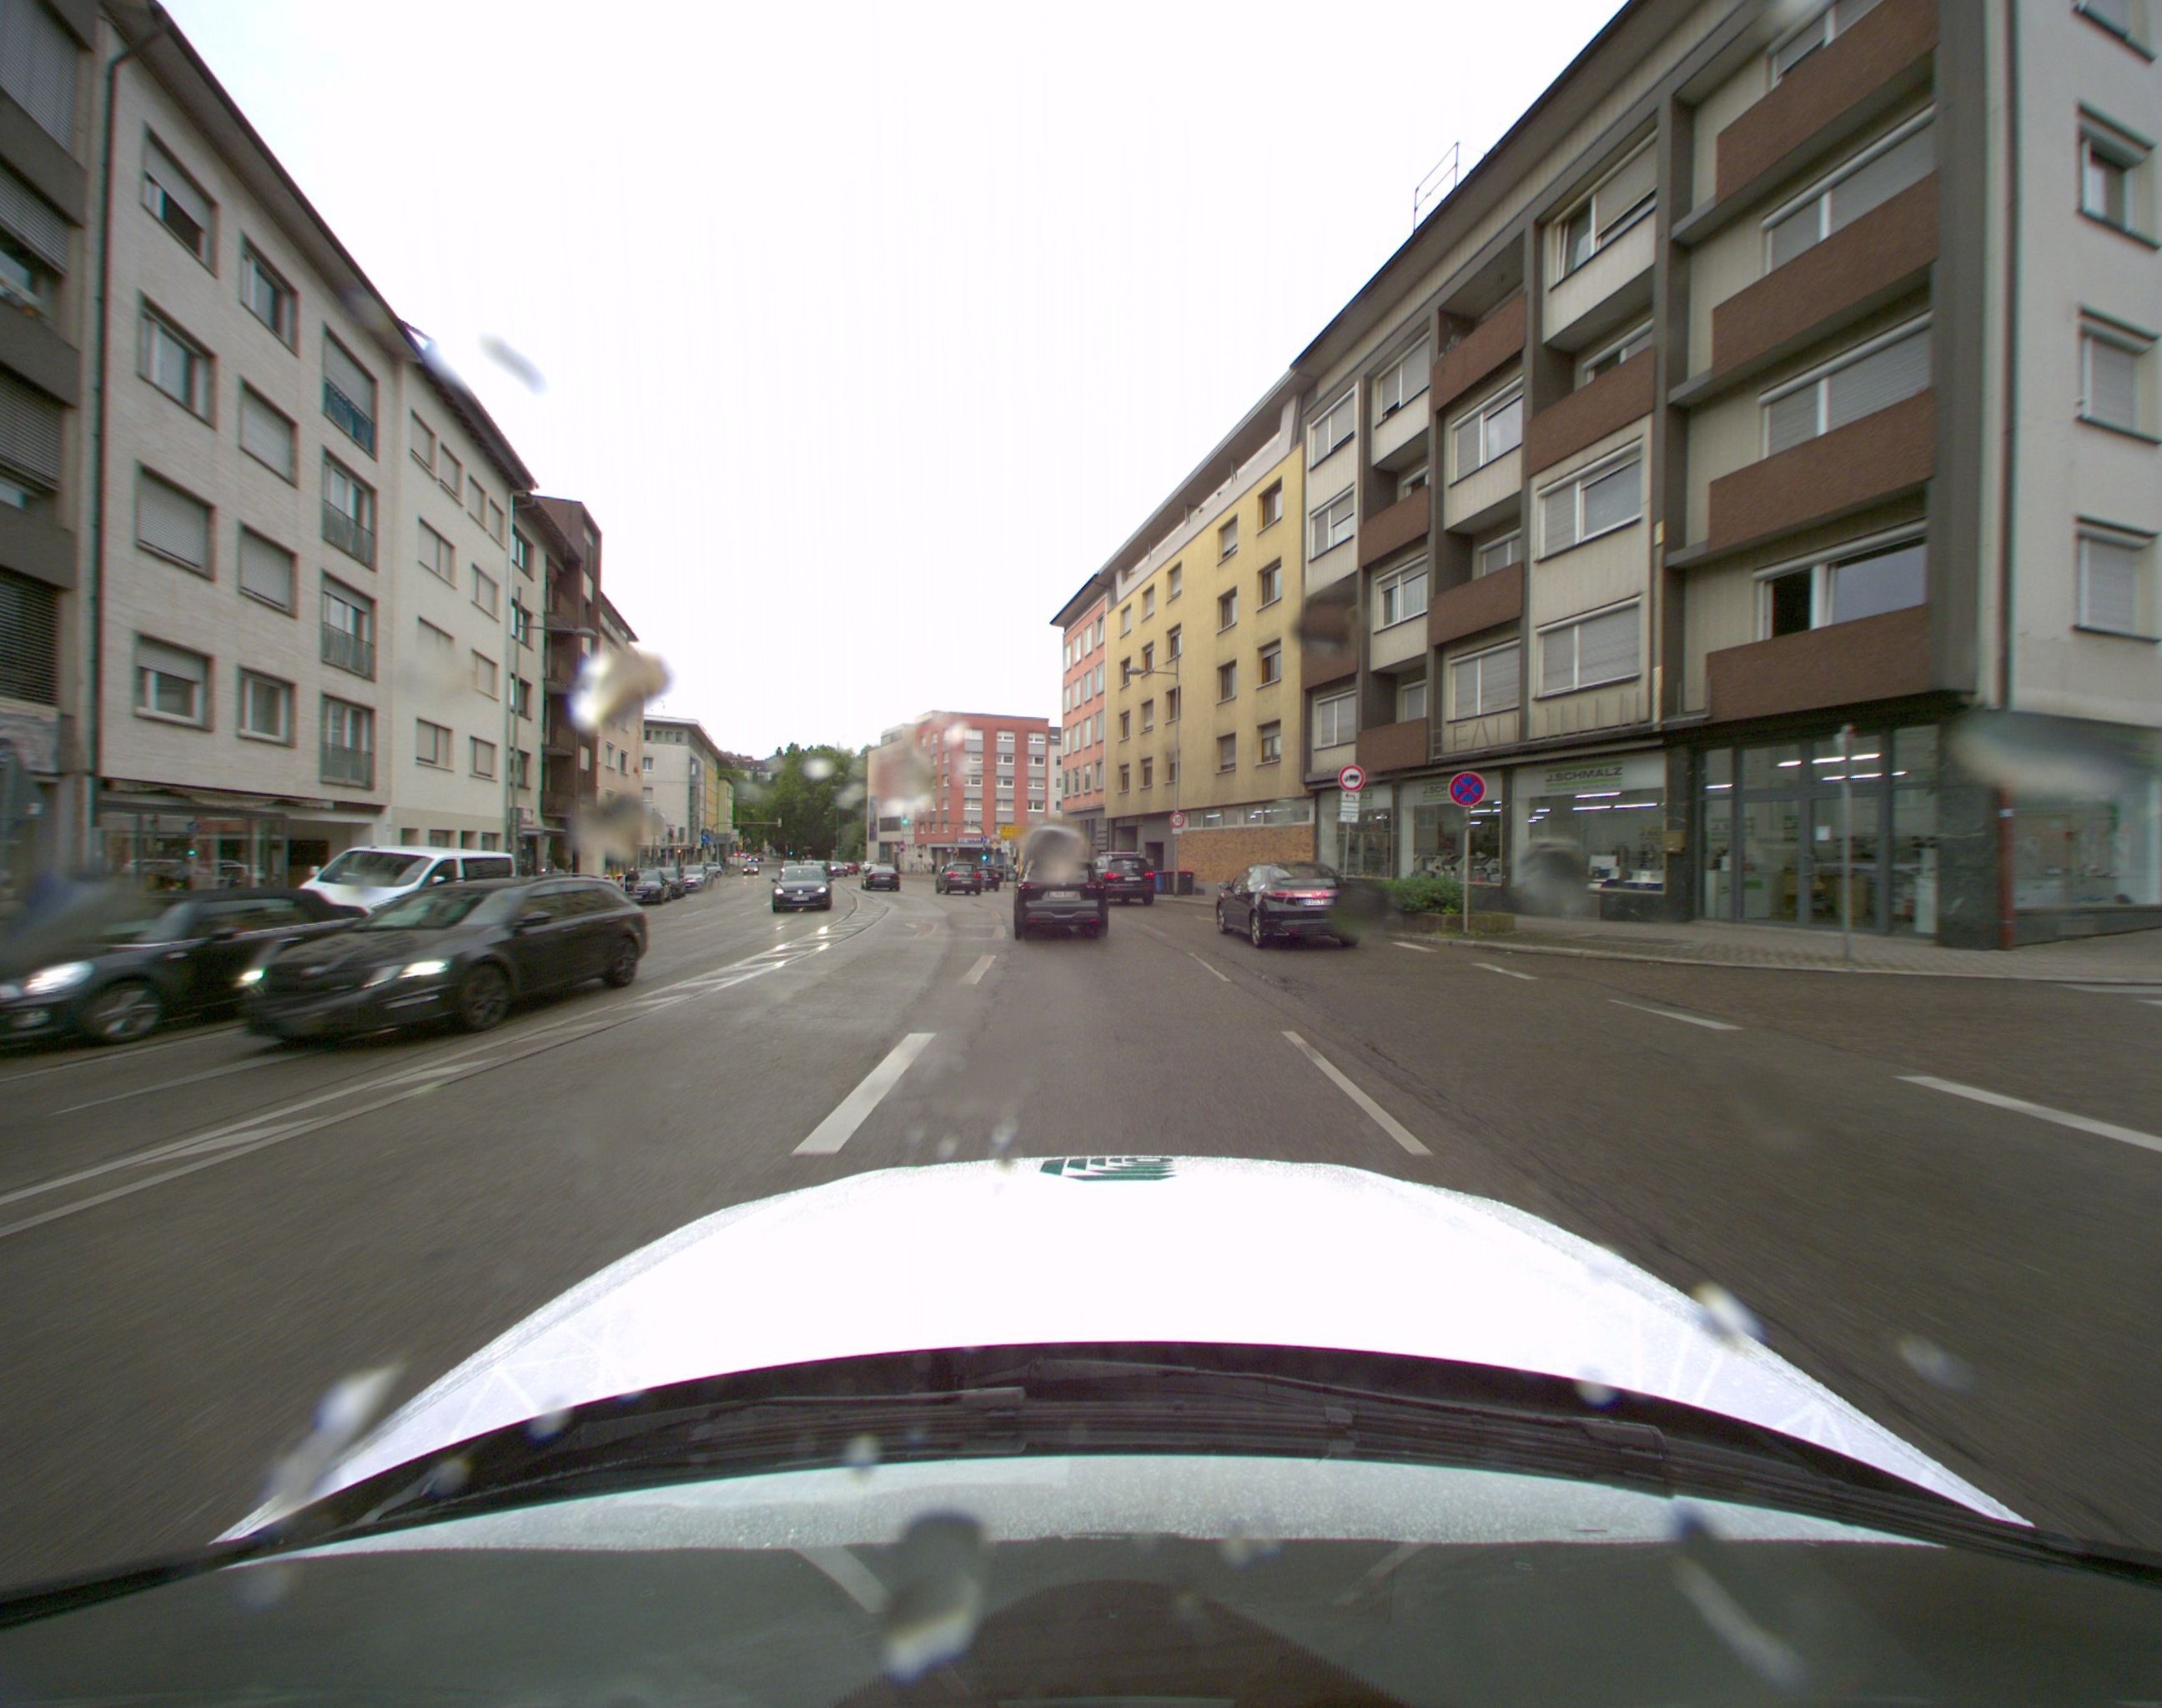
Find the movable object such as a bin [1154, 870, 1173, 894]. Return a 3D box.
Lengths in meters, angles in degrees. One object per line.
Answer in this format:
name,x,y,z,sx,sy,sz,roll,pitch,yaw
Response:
movable object such as a bin,3.774,1.275,37.372,0.683,1.077,0.664,1,-1,-19

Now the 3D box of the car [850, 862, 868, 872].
car,-31.946,1.845,117.160,1.723,1.442,4.047,-1,1,-26

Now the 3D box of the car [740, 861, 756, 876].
car,-38.304,1.686,93.729,1.699,1.627,3.970,0,-1,-22

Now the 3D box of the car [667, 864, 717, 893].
car,-22.211,1.373,46.651,1.913,1.554,4.603,-1,-1,-17

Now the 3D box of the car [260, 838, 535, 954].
car,-14.029,0.845,17.273,2.119,2.015,5.108,3,-2,-11

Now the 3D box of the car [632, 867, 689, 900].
car,-20.086,1.373,39.105,2.001,1.477,4.485,0,-1,-22

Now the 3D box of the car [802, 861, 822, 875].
car,-30.878,1.613,93.391,1.828,1.608,4.398,0,-1,-22

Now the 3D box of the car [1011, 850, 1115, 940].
car,-0.501,0.765,17.071,1.892,1.629,3.992,-1,0,-6

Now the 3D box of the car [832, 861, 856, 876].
car,-27.557,1.664,94.533,2.004,1.530,3.966,3,-1,-26

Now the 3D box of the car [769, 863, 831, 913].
car,-9.315,1.070,27.234,1.687,1.473,3.978,-2,0,-16

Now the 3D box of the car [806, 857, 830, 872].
car,-28.435,1.143,87.973,1.944,1.527,4.099,0,-1,-26

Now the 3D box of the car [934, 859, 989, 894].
car,-6.229,1.128,42.080,1.953,1.685,3.971,-1,0,-21

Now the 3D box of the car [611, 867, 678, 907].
car,-18.158,1.319,34.082,1.889,1.477,4.943,-1,0,-22

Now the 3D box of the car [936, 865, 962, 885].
car,-10.884,1.735,67.042,1.994,1.486,3.986,3,-1,-10

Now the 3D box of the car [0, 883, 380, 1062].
car,-9.801,1.087,8.638,1.718,1.399,3.590,-2,0,-4

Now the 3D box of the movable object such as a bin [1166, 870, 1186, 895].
movable object such as a bin,4.203,1.243,36.082,0.683,1.077,0.664,1,-1,-19

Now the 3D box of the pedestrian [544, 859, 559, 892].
pedestrian,-25.750,1.043,39.615,0.546,1.583,0.662,2,-2,-33

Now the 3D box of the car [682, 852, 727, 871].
car,-36.066,0.758,78.117,1.670,1.706,4.013,2,-1,12

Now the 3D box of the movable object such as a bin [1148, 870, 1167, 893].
movable object such as a bin,3.552,1.281,38.016,0.683,1.077,0.664,1,-1,-19

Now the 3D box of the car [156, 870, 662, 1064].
car,-6.651,0.961,8.926,1.979,1.459,4.479,-2,0,-4

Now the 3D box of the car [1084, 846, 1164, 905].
car,1.418,0.720,29.120,2.019,1.869,4.886,-1,0,-7

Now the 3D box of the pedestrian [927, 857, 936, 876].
pedestrian,-17.496,1.503,95.383,0.828,2.158,0.764,3,-1,-21

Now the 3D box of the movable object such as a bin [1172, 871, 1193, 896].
movable object such as a bin,4.427,1.269,35.436,0.683,1.077,0.664,1,-1,-19

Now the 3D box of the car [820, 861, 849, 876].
car,-25.242,1.459,83.379,1.868,1.553,4.183,1,-1,-32

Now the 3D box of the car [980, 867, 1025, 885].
car,-7.458,2.109,77.597,1.975,1.519,4.024,2,-1,40

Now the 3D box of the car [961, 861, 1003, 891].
car,-6.415,1.382,52.372,1.951,1.816,3.976,-1,0,-18

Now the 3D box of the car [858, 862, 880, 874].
car,-29.027,1.899,111.419,1.785,1.401,4.537,-1,1,-29

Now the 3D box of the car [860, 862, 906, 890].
car,-11.509,1.239,47.093,2.000,1.388,4.468,3,-1,-21

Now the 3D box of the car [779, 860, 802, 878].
car,-27.857,1.442,78.079,1.870,1.647,4.221,-1,-1,-23

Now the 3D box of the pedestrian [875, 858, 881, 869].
pedestrian,-30.013,1.400,120.279,0.616,1.737,0.674,-1,0,-34

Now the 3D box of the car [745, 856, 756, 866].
car,-71.144,1.479,175.425,2.001,1.860,3.972,3,-1,-21

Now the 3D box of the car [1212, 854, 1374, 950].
car,3.688,0.757,14.915,1.779,1.497,4.053,-1,0,-2

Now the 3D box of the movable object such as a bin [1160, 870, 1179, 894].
movable object such as a bin,3.990,1.274,36.731,0.683,1.077,0.664,1,-1,-19

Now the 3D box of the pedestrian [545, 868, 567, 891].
pedestrian,-26.669,1.271,41.354,0.668,1.148,0.596,0,-1,8
